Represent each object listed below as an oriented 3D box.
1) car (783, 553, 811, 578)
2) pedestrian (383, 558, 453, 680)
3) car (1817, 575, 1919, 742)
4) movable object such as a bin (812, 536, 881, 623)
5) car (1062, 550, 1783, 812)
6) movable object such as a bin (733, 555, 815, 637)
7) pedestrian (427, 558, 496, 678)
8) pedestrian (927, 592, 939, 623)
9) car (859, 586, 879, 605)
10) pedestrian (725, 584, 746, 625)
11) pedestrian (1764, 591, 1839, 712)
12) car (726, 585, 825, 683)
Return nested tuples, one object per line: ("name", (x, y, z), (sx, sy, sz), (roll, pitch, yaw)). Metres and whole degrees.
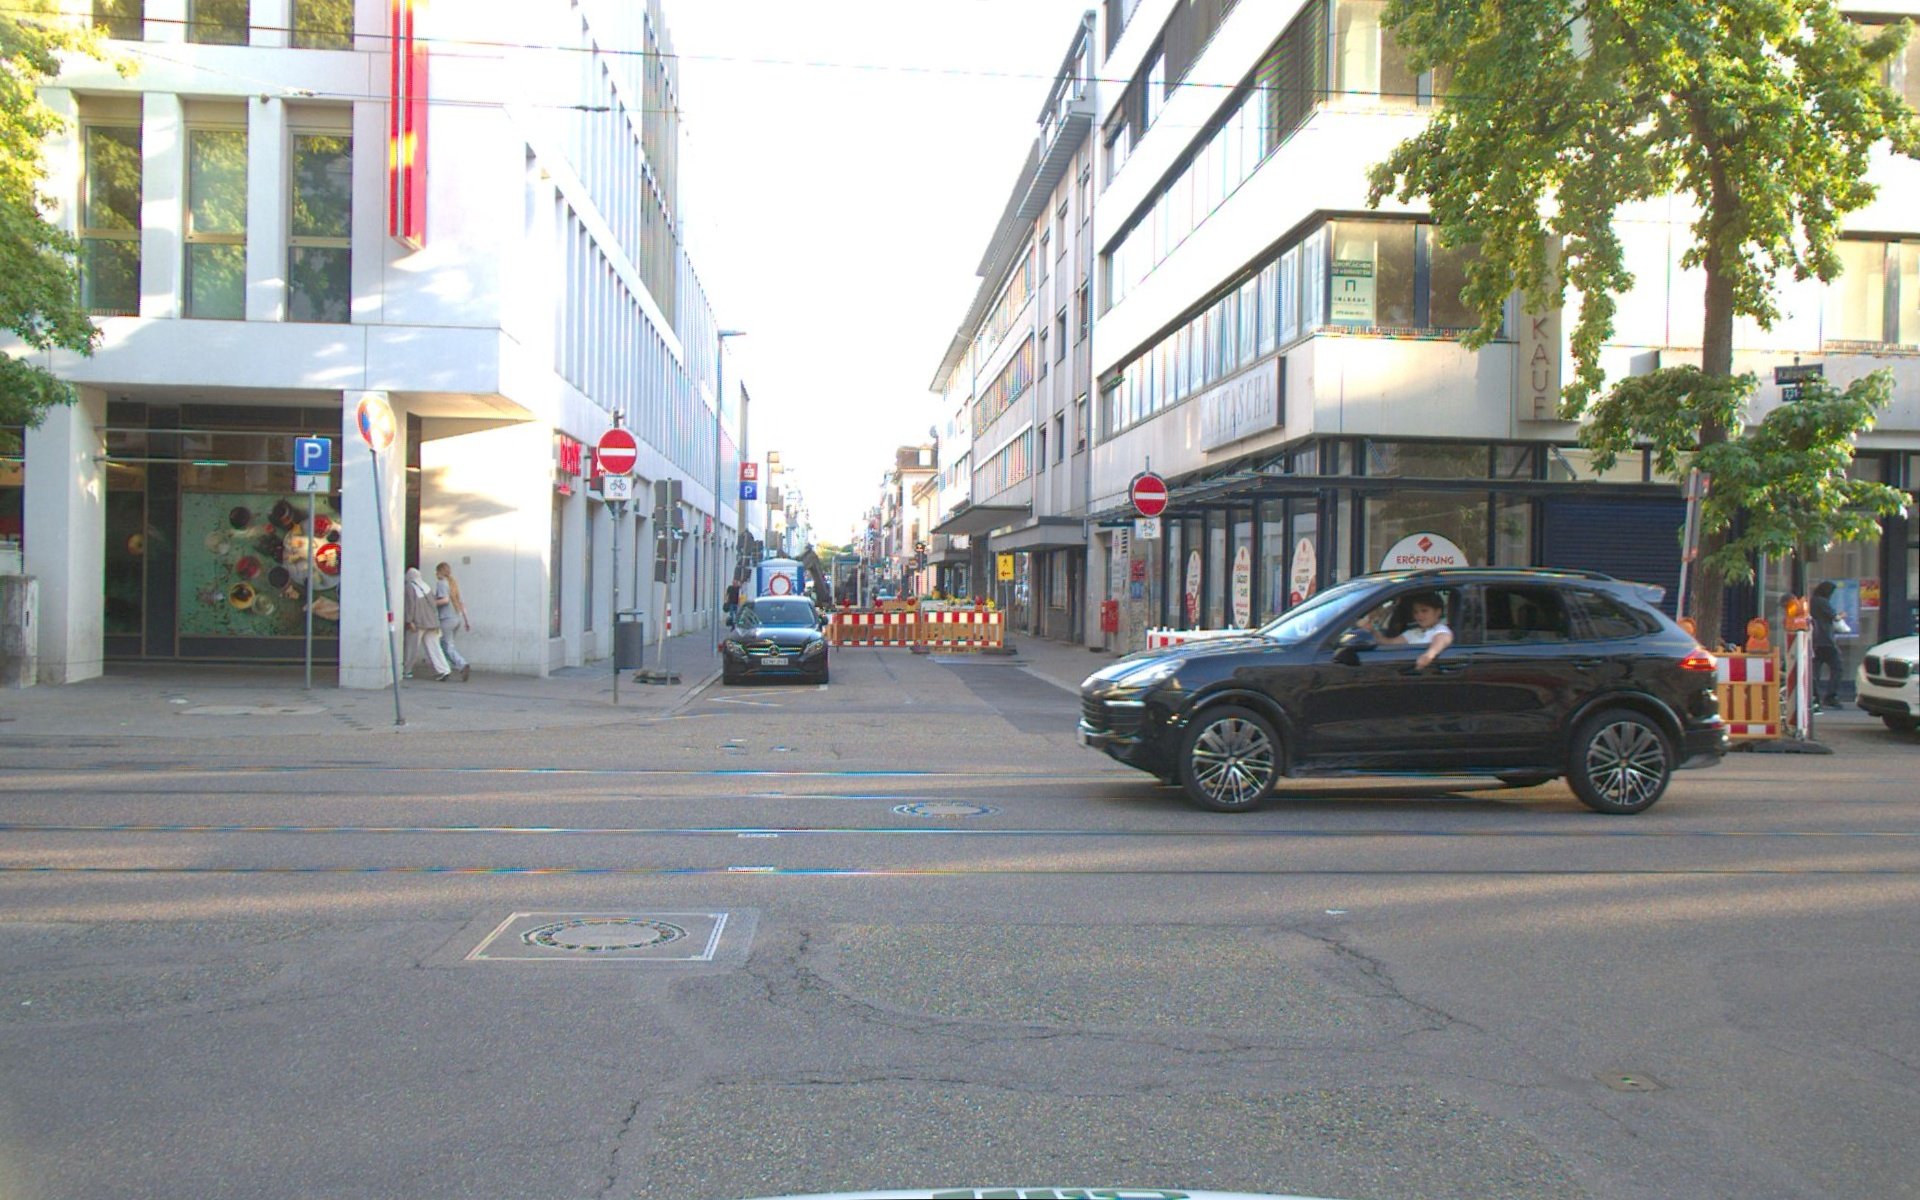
("car", (-12.111, -2.564, 122.784), (1.954, 1.807, 3.997), (0, 1, -4))
("pedestrian", (-7.513, 0.256, 22.922), (0.858, 1.656, 0.607), (0, 1, 45))
("car", (13.118, 0.688, 19.673), (4.834, 1.806, 2.021), (1, 3, -5))
("movable object such as a bin", (-3.720, -0.658, 53.720), (2.114, 2.710, 4.568), (0, 0, -5))
("car", (3.311, 0.573, 12.458), (4.834, 1.756, 2.020), (1, 0, -5))
("movable object such as a bin", (-4.868, -0.123, 43.696), (1.954, 2.049, 3.997), (0, 1, -4))
("pedestrian", (-7.038, 0.248, 23.340), (0.858, 1.656, 0.607), (0, 1, 45))
("pedestrian", (-1.300, 0.342, 80.638), (0.513, 1.490, 0.718), (1, 0, 3))
("car", (-9.246, -0.471, 167.625), (1.954, 1.807, 3.997), (0, 1, -4))
("pedestrian", (-8.167, 0.150, 60.150), (0.701, 1.490, 0.525), (0, 0, -2))
("pedestrian", (11.238, 0.675, 22.097), (0.691, 1.576, 0.578), (0, 0, -7))
("car", (-3.198, 0.534, 28.454), (1.598, 1.577, 3.137), (0, 1, -8))
